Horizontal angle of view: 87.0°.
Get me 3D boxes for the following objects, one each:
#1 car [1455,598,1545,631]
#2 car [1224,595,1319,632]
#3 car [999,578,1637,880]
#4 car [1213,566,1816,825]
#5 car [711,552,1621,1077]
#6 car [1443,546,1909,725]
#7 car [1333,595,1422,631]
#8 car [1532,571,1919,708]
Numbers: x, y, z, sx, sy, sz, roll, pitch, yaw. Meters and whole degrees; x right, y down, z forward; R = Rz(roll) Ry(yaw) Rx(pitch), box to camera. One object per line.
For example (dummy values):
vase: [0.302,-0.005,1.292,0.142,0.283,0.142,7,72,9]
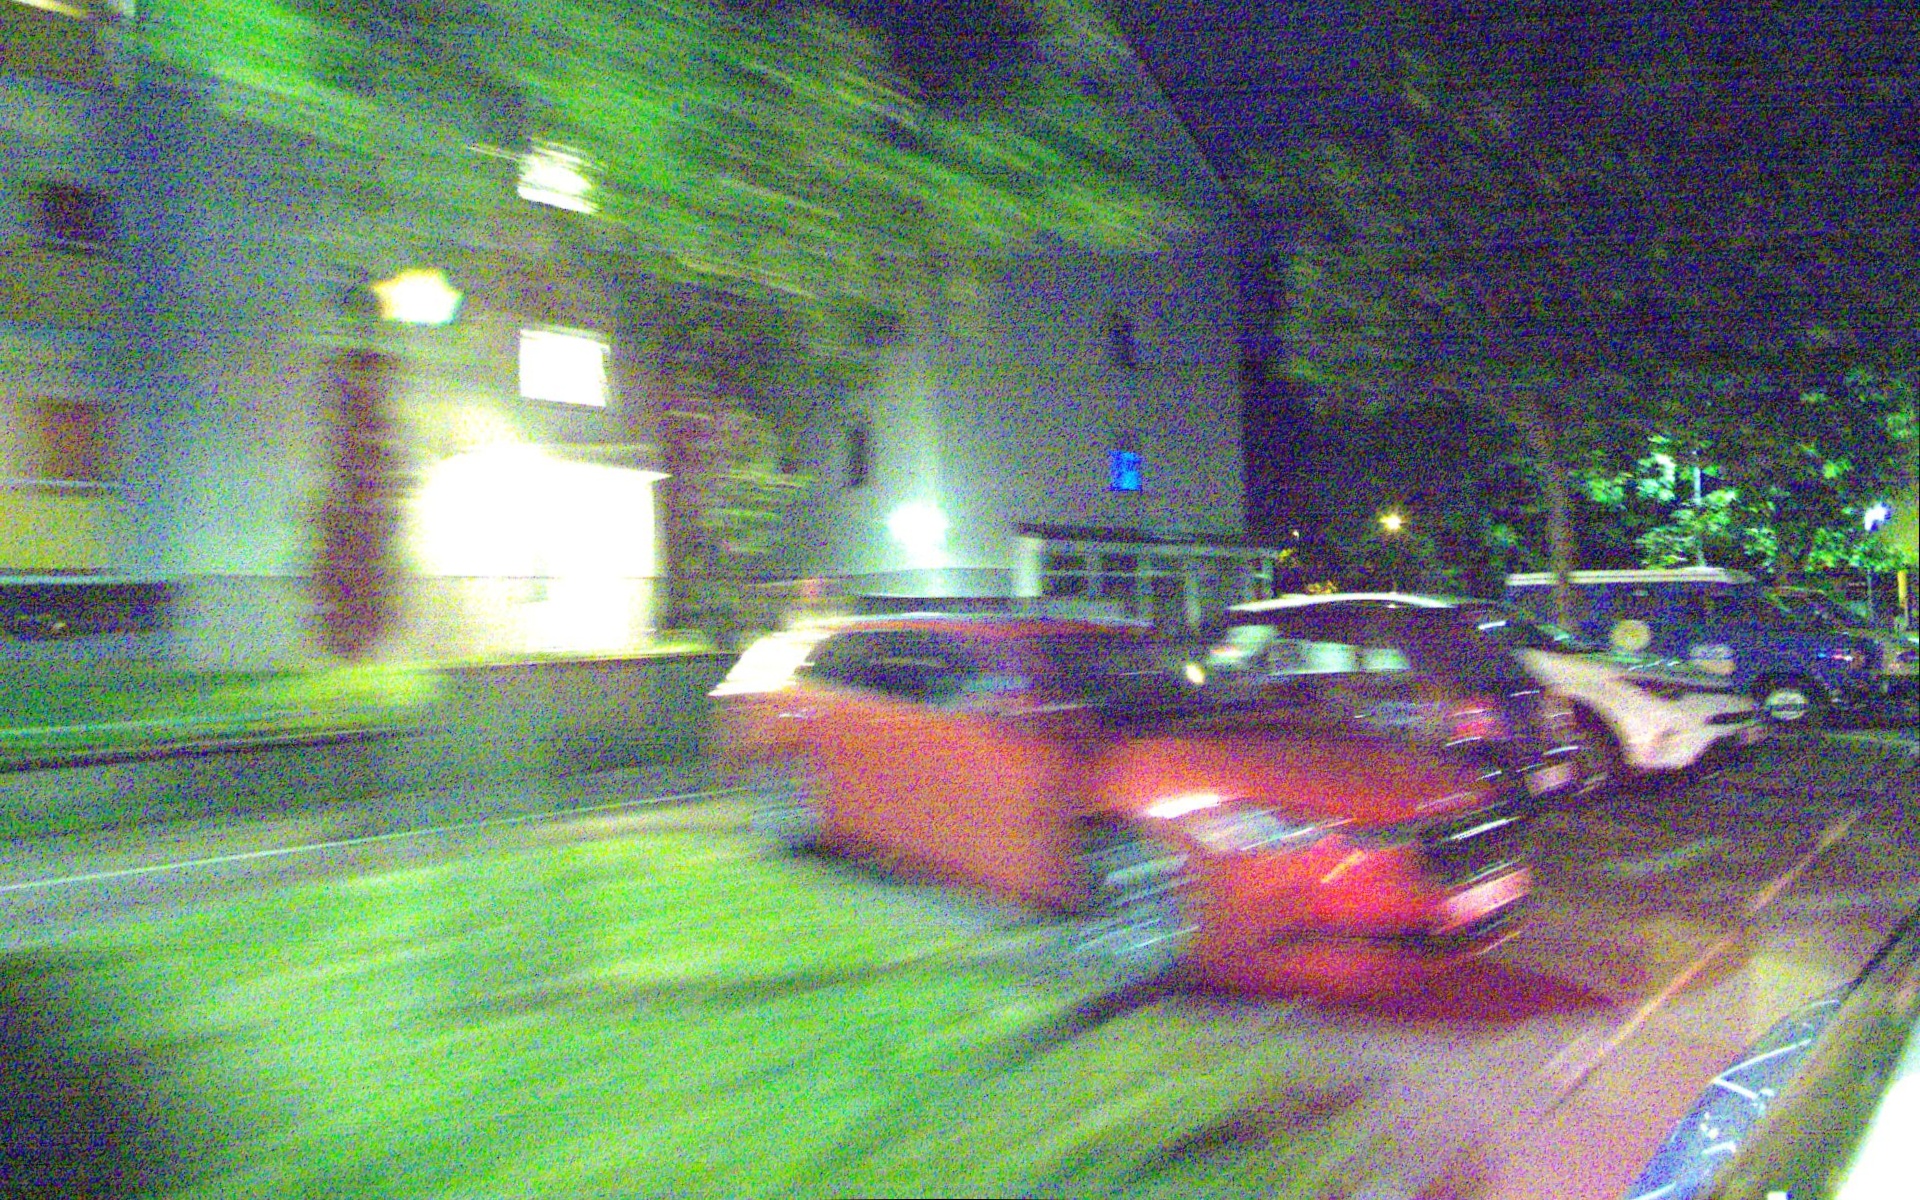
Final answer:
car: [25.349,0.663,47.529,3.527,1.387,1.737,2,1,35]
car: [16.069,0.658,52.184,4.597,1.694,1.919,2,1,21]
car: [2.357,0.722,7.474,1.965,1.577,3.994,1,-2,-40]
car: [4.609,0.683,9.052,1.962,1.720,4.288,0,-2,-36]
car: [0.580,0.699,5.546,2.068,1.577,4.665,0,-2,-38]
car: [10.133,0.452,14.715,2.220,2.123,5.150,1,-1,-41]
car: [20.715,0.599,50.229,3.964,1.618,1.742,2,1,28]
car: [12.420,0.565,16.285,2.220,1.868,5.150,1,-1,-41]
